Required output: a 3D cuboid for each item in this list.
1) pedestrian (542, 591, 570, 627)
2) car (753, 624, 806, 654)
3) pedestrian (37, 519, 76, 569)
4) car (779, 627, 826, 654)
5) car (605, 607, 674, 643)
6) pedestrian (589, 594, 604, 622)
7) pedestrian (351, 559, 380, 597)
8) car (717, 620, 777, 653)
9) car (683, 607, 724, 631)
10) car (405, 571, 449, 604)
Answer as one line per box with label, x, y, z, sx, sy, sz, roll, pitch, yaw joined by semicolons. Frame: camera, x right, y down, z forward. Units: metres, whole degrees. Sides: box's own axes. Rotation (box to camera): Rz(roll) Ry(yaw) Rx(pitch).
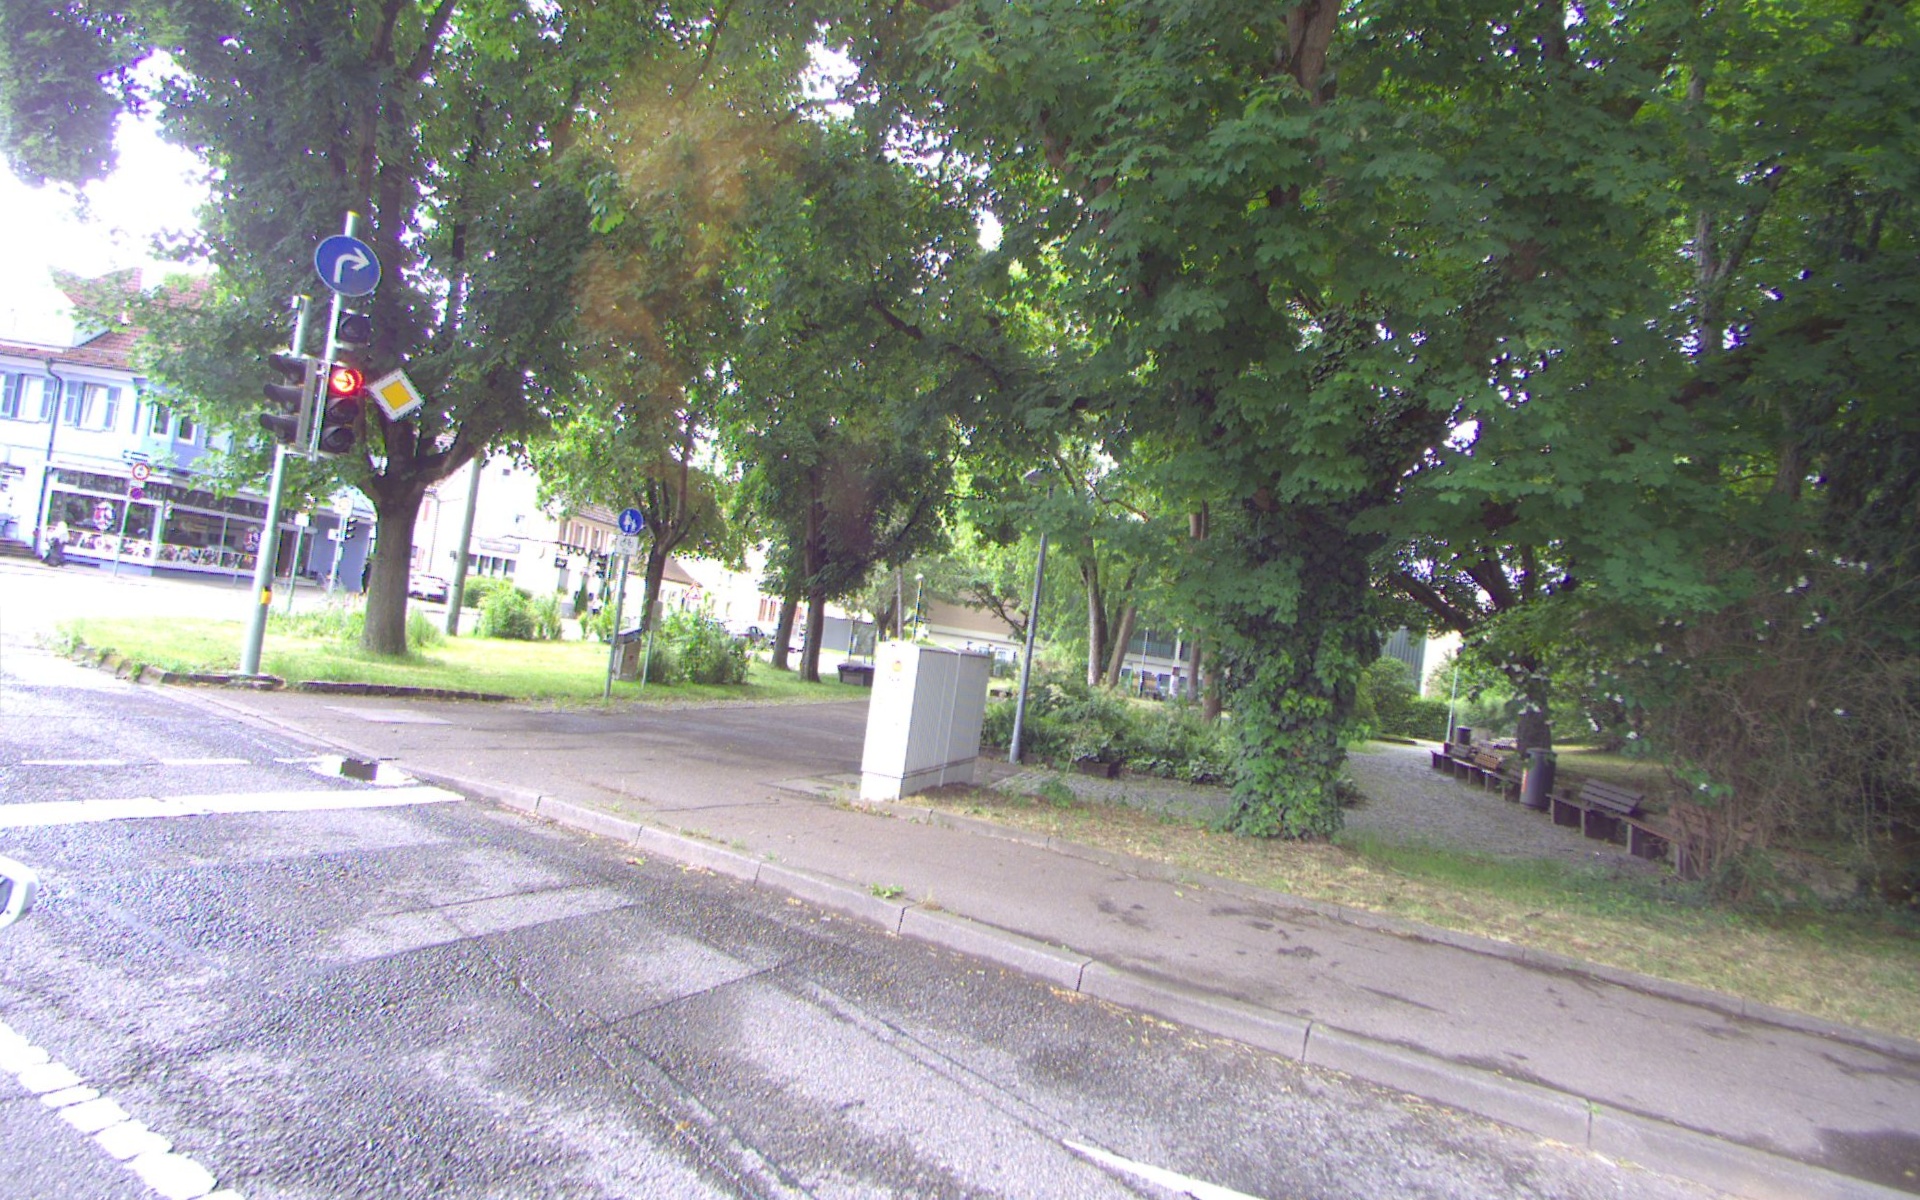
pedestrian;-12.982;0.294;32.299;0.506;1.093;0.507;6;-1;17
car;-10.698;2.338;59.907;1.618;1.474;3.740;7;-2;13
pedestrian;-30.613;-1.890;34.094;0.688;1.578;0.662;7;-1;-27
car;-10.271;2.655;66.038;1.618;1.474;3.740;7;-2;13
car;-14.014;1.105;44.146;1.436;1.282;3.014;7;-2;13
pedestrian;-21.533;0.479;59.585;0.500;1.578;0.505;6;-1;17
pedestrian;-26.865;-0.982;45.465;0.732;1.578;0.673;6;-1;17
car;-11.562;2.015;54.933;1.618;1.474;3.740;7;-2;13
car;-18.980;1.461;74.580;1.736;1.463;3.865;7;-2;2
car;-28.174;-0.691;53.163;1.870;1.406;3.589;9;-2;-28
